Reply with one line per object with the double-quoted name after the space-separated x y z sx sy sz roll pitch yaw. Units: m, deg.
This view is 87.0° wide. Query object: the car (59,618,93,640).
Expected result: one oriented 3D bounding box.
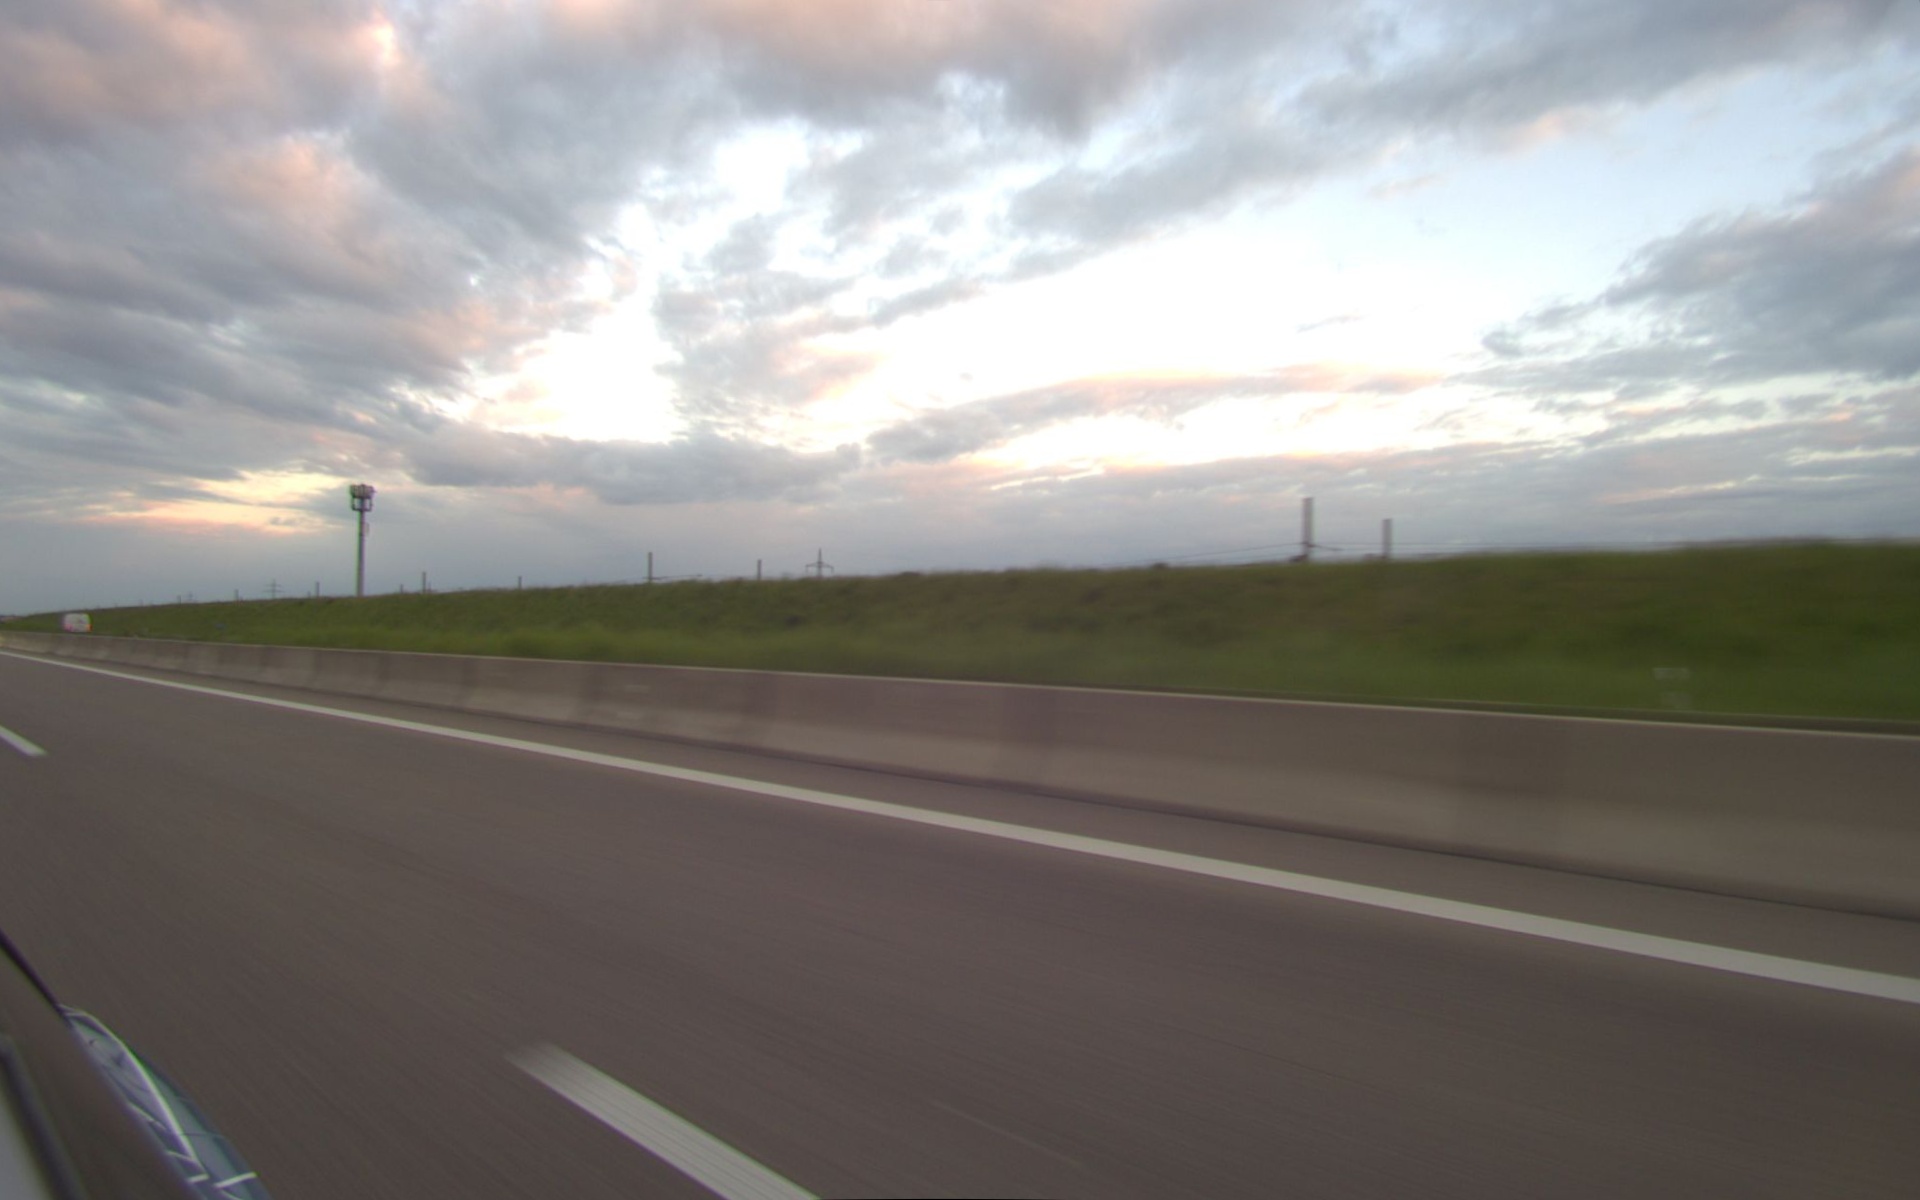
-104.948 3.455 120.111 7.374 2.566 1.972 -1 -3 41 "car"
